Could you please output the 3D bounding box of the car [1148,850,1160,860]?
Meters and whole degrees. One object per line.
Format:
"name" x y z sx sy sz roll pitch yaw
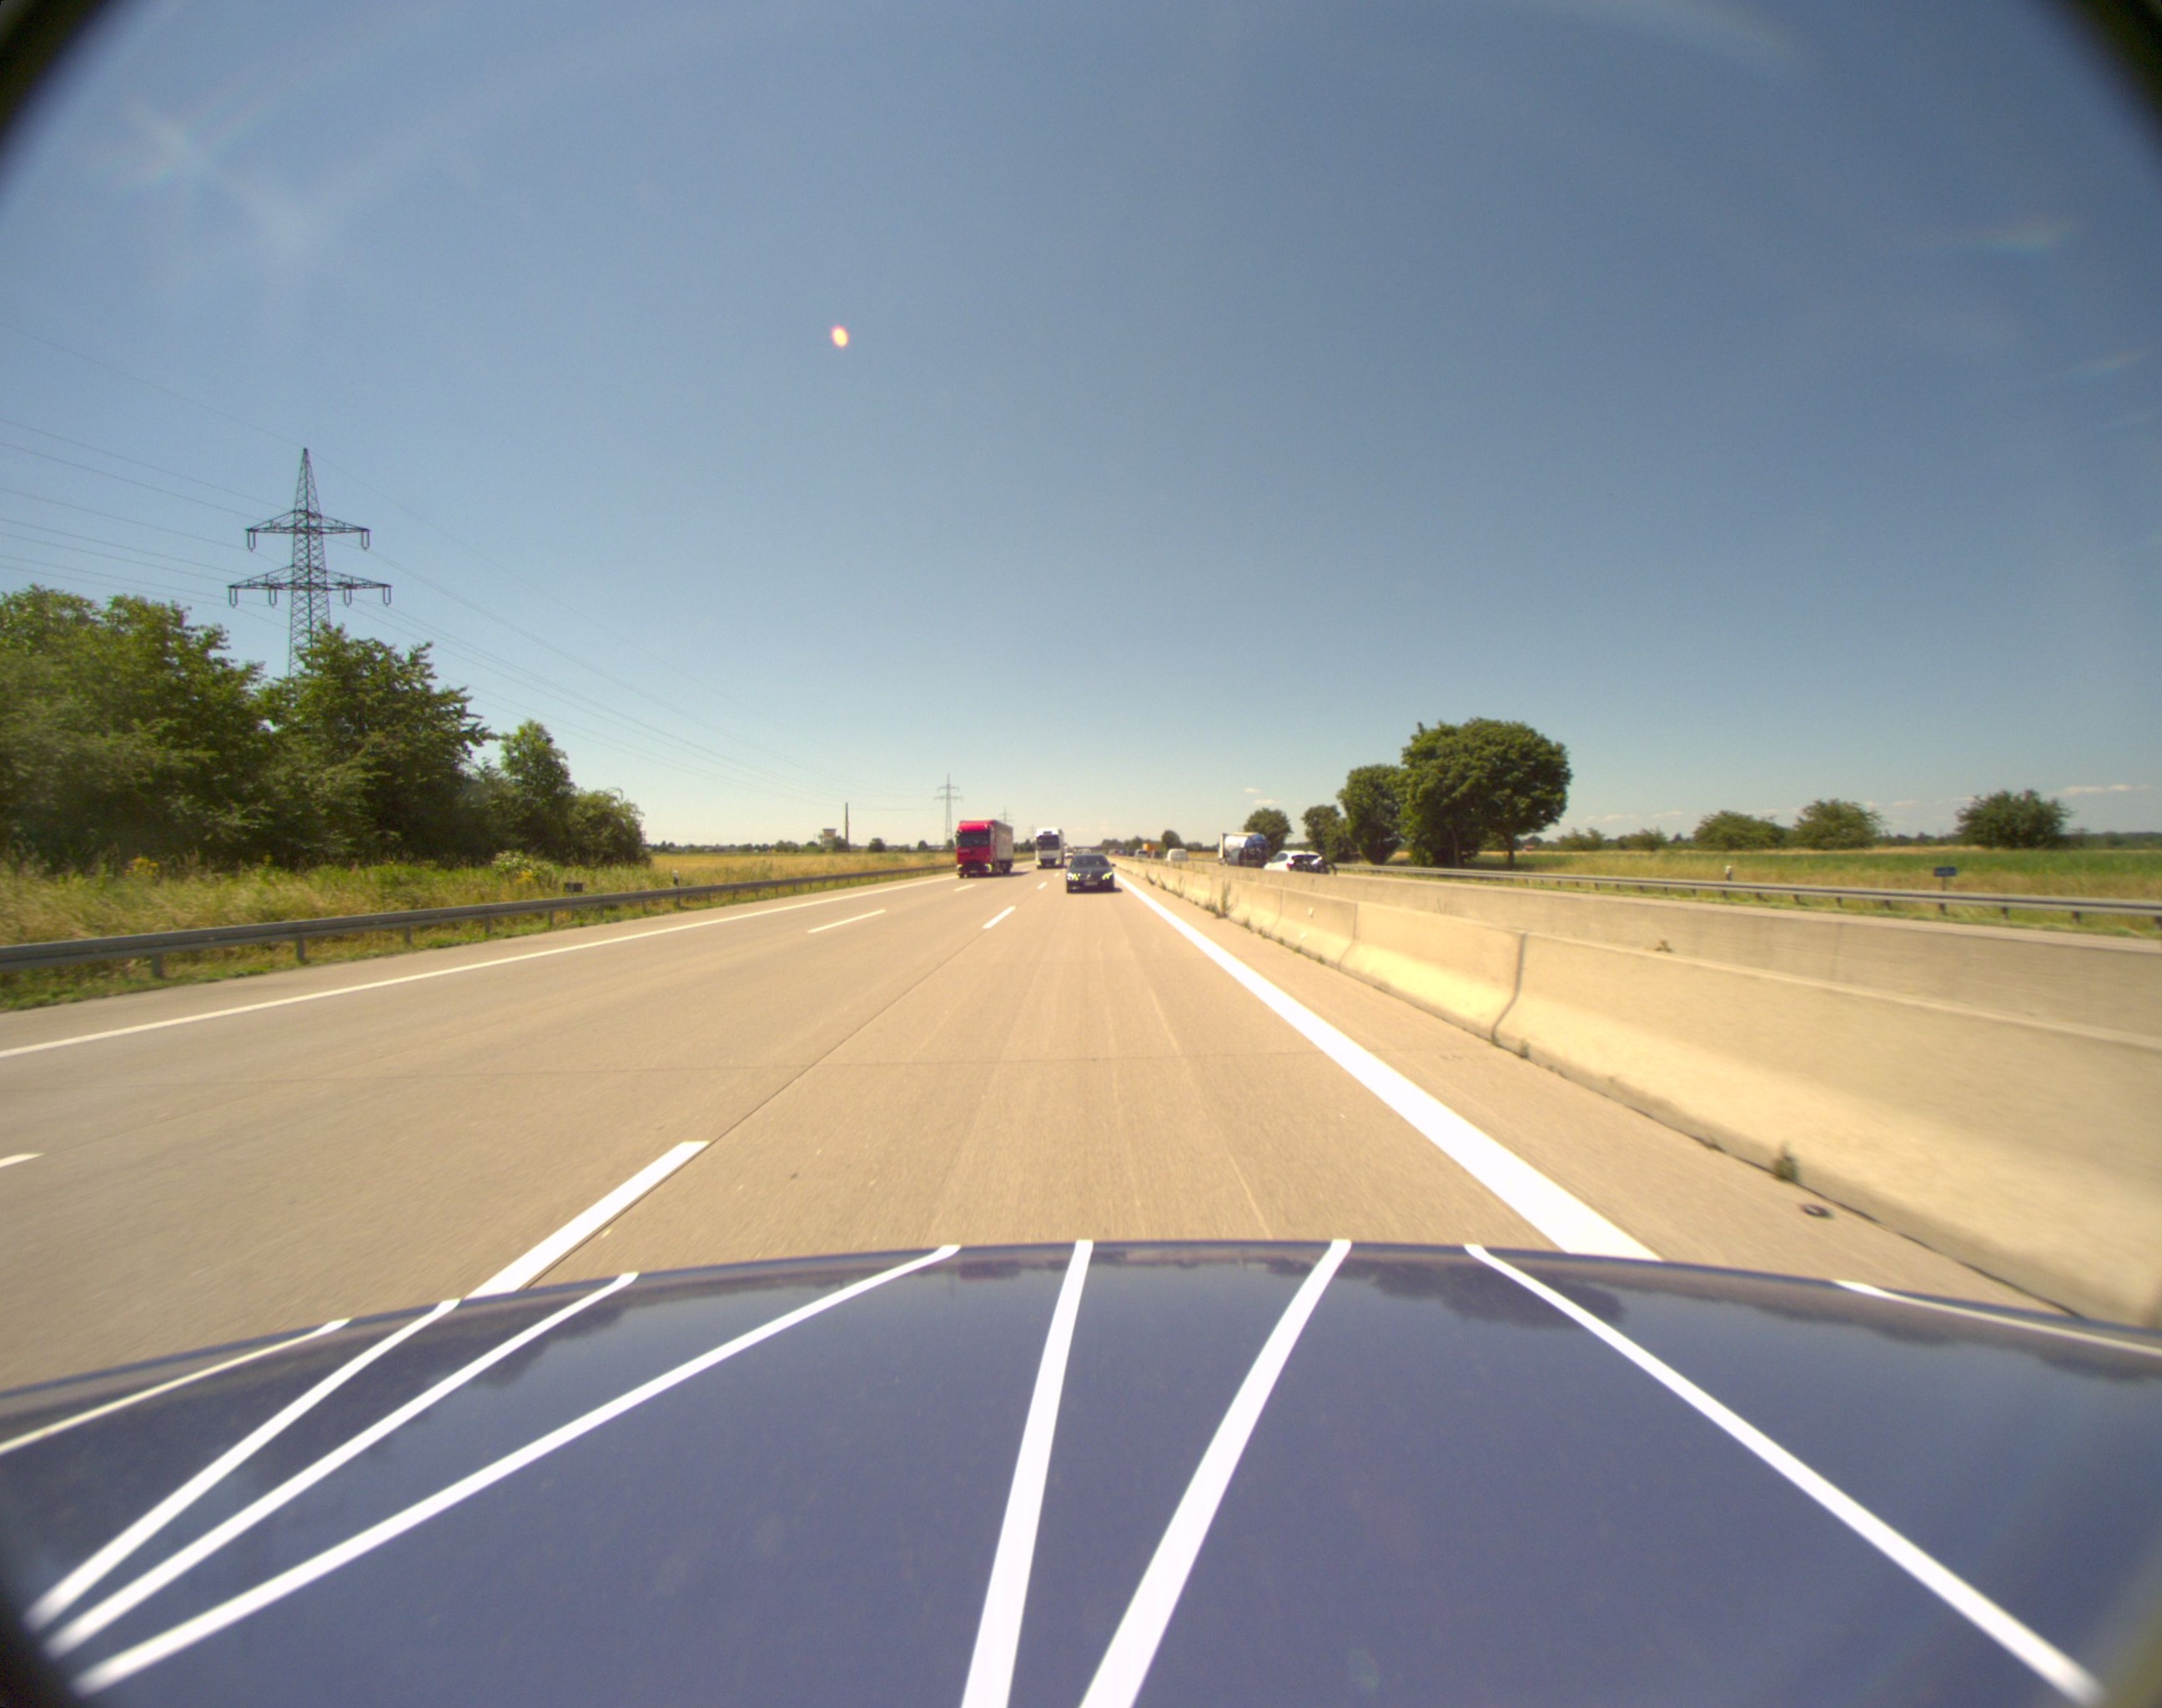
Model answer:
"car" 14.262 0.253 148.352 1.998 1.781 4.300 -2 1 1

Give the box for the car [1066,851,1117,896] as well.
"car" 0.409 0.702 29.952 1.848 1.576 3.939 -2 1 1

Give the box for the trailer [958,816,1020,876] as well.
"trailer" -7.105 -0.630 60.970 2.960 4.122 13.808 -2 1 1

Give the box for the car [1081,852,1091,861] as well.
"car" 1.074 0.487 154.513 1.998 1.781 4.300 -2 1 1

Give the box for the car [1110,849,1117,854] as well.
"car" 10.885 -0.821 252.289 1.998 1.781 4.300 -2 1 1

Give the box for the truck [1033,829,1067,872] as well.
"truck" -3.057 -0.358 77.337 2.960 4.122 6.151 -2 1 1

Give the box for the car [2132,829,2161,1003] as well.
"car" 13.216 0.712 5.891 2.258 1.947 5.684 0 1 0

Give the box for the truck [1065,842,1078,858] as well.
"truck" -2.487 -1.116 202.677 2.960 4.122 10.016 -2 1 1

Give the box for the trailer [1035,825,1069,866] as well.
"trailer" -3.044 -0.921 82.770 2.960 4.122 12.024 -2 1 1

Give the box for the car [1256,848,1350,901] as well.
"car" 9.299 0.769 32.489 2.258 2.002 5.978 -2 1 0

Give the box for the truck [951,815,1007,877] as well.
"truck" -7.230 -0.567 54.495 2.959 4.122 6.151 -2 1 1

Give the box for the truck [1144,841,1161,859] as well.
"truck" 18.753 -1.041 200.524 3.421 4.469 9.999 -2 1 1

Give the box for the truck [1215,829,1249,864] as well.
"truck" 17.346 -0.845 87.723 2.663 3.946 6.619 0 1 0

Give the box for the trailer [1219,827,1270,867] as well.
"trailer" 17.368 -0.722 81.679 2.684 3.946 13.005 0 1 0

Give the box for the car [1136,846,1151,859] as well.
"car" 9.789 -0.304 119.018 1.998 1.893 3.999 -2 1 1

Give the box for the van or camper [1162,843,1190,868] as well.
"van or camper" 9.281 0.137 74.803 1.998 2.284 6.469 -2 1 1

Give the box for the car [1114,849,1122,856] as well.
"car" 10.799 -0.510 220.458 1.998 1.781 4.300 -2 1 1

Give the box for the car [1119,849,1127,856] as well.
"car" 11.334 -0.373 204.315 1.998 1.781 4.300 -2 1 1

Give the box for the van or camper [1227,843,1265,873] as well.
"van or camper" 13.080 0.284 60.541 1.942 2.207 4.796 -2 1 1
